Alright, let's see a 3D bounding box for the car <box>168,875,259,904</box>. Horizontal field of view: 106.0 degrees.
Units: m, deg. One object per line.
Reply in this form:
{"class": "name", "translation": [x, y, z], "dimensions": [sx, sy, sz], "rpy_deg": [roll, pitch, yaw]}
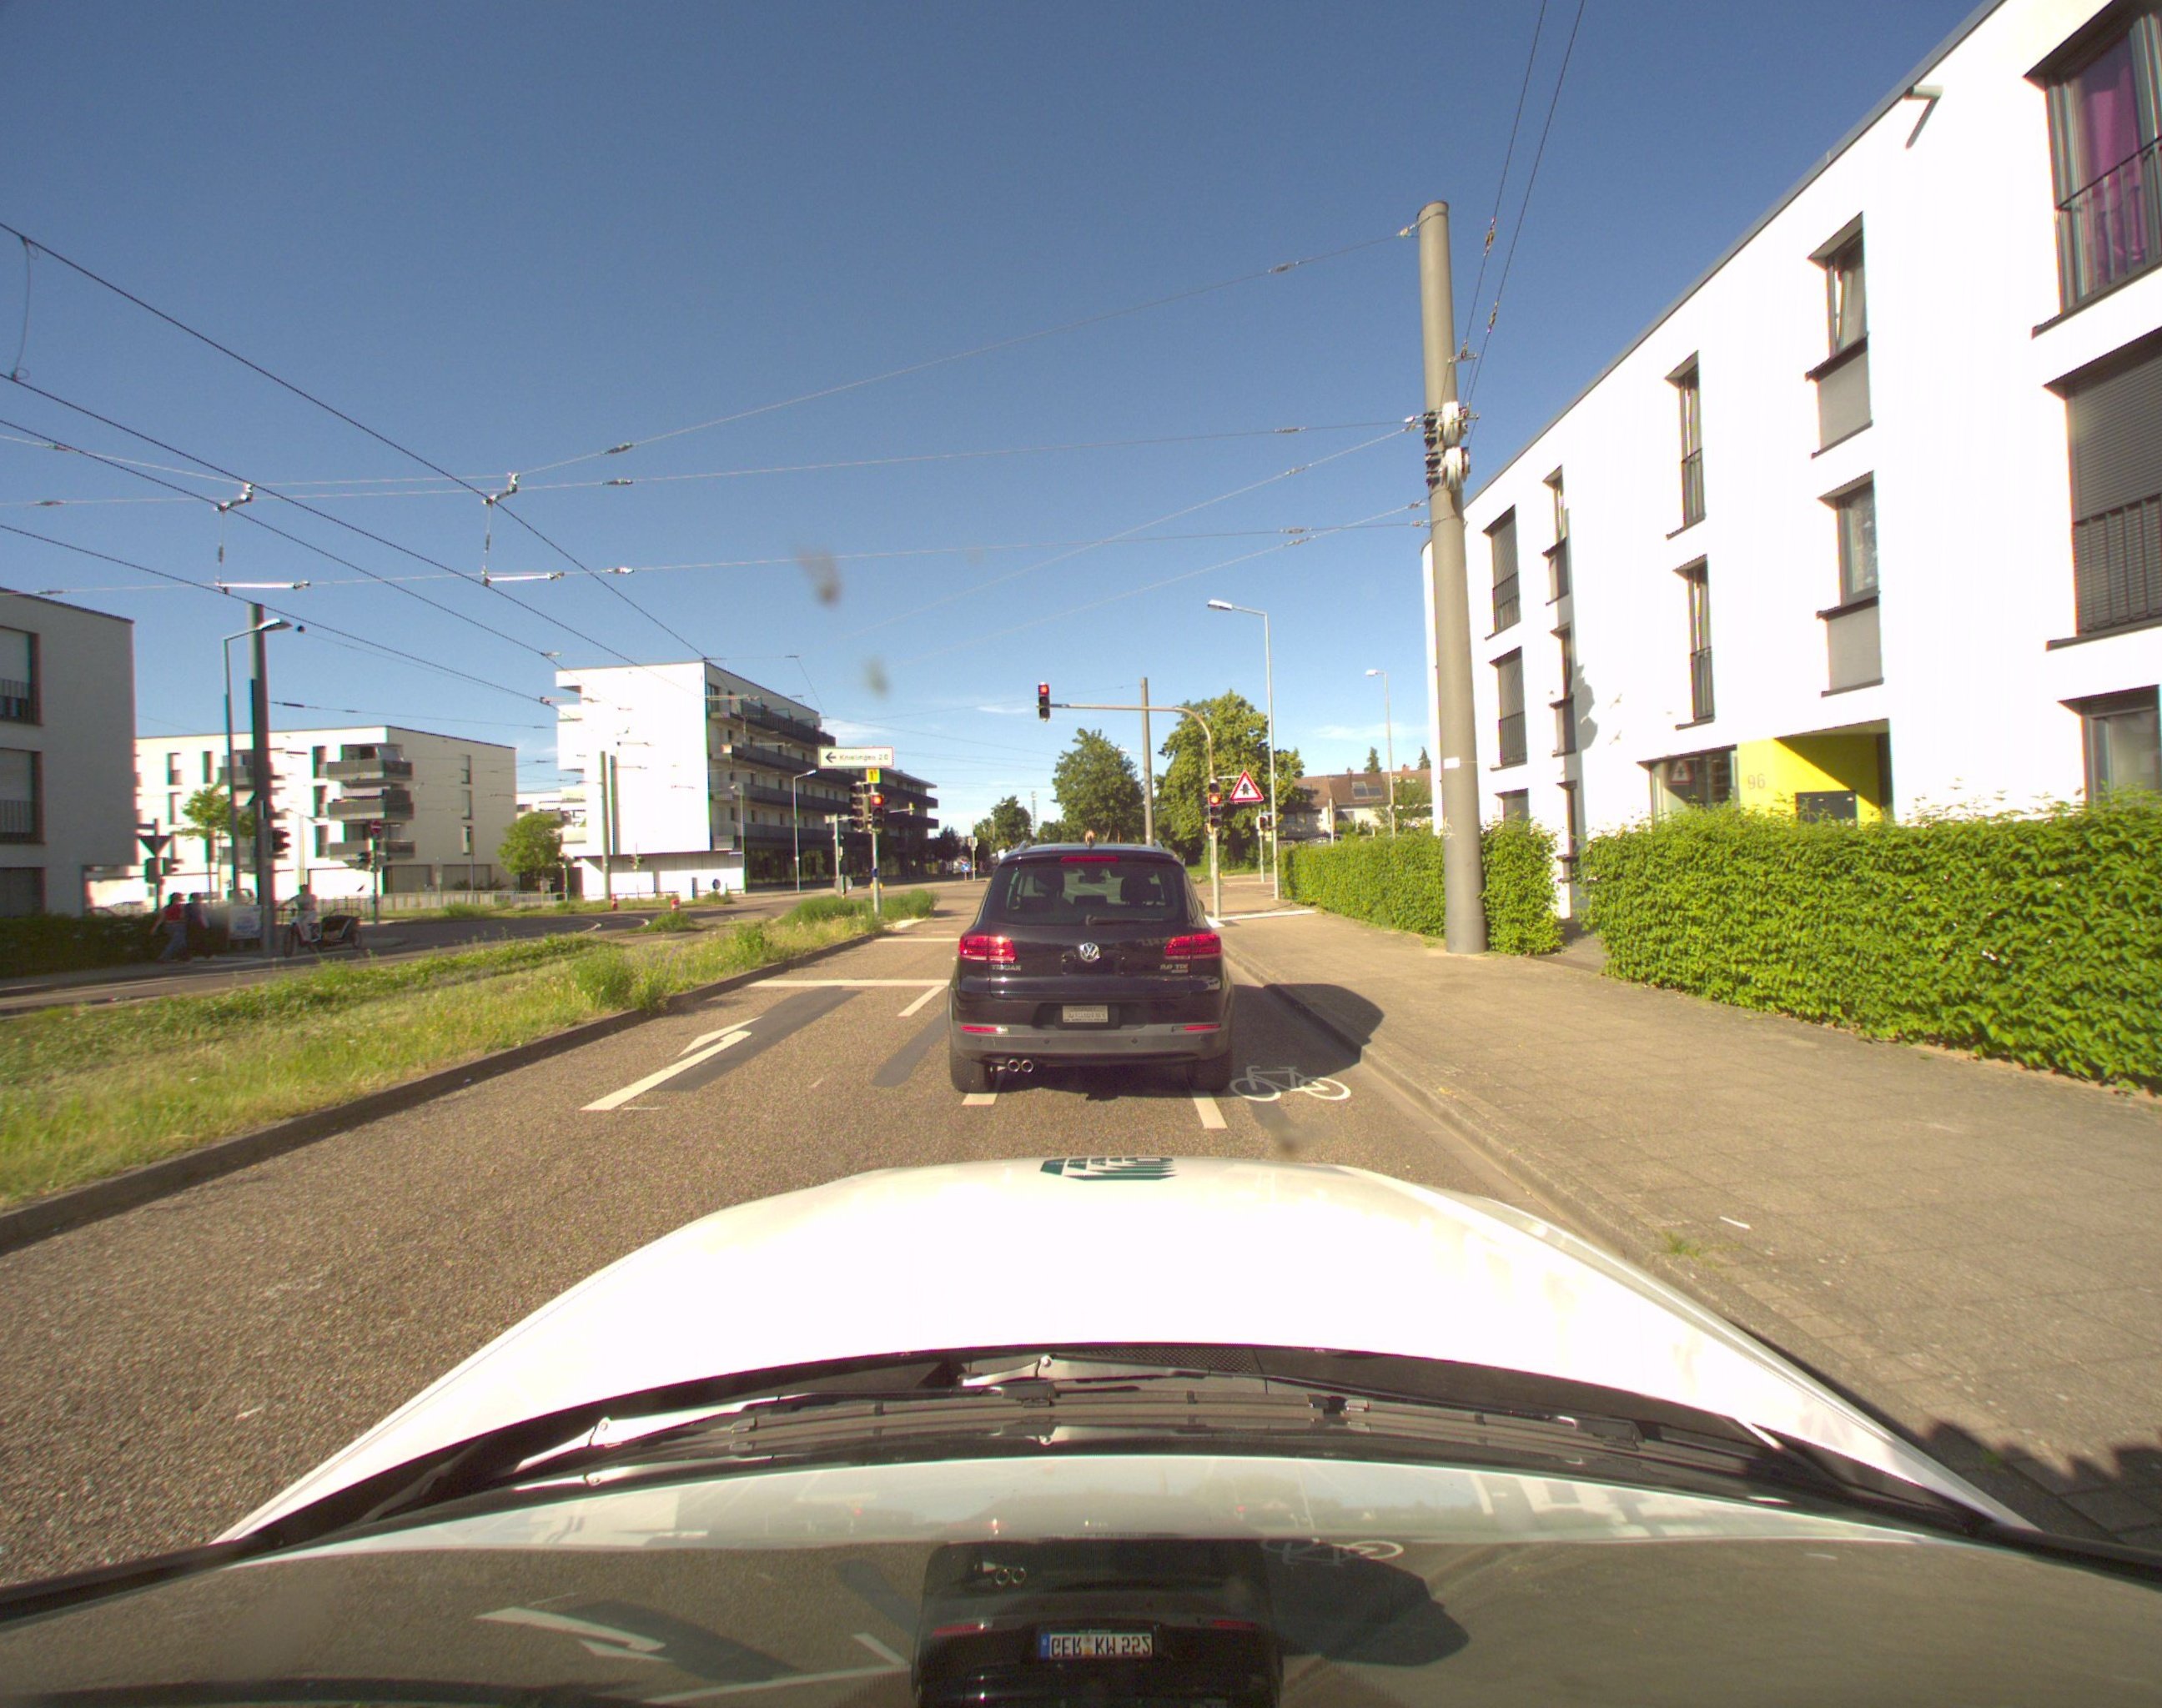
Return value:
{"class": "car", "translation": [-58.722, 2.372, 55.159], "dimensions": [3.974, 1.838, 2.000], "rpy_deg": [-1, 0, 0]}

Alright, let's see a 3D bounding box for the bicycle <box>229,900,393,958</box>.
{"class": "bicycle", "translation": [-19.901, 1.896, 21.250], "dimensions": [0.994, 1.174, 3.688], "rpy_deg": [1, 0, -5]}

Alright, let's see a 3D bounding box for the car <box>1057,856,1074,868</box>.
{"class": "car", "translation": [-1.793, 0.920, 94.682], "dimensions": [1.745, 1.387, 4.000], "rpy_deg": [-1, 0, 0]}

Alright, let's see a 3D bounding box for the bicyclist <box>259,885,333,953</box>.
{"class": "bicyclist", "translation": [-19.852, 1.616, 20.622], "dimensions": [0.971, 1.630, 0.911], "rpy_deg": [-1, 0, -6]}

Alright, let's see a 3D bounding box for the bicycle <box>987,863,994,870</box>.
{"class": "bicycle", "translation": [-12.177, 1.669, 109.145], "dimensions": [0.493, 0.848, 2.082], "rpy_deg": [-1, 0, 6]}

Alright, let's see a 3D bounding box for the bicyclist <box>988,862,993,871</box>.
{"class": "bicyclist", "translation": [-12.175, 1.704, 109.147], "dimensions": [0.472, 1.223, 0.713], "rpy_deg": [-1, 0, 5]}

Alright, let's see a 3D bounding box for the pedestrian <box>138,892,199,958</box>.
{"class": "pedestrian", "translation": [-21.304, 1.637, 19.027], "dimensions": [0.554, 1.464, 0.743], "rpy_deg": [-1, 0, 3]}

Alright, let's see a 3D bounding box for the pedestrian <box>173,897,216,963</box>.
{"class": "pedestrian", "translation": [-20.689, 1.767, 19.013], "dimensions": [0.561, 1.464, 0.605], "rpy_deg": [-1, 0, -36]}

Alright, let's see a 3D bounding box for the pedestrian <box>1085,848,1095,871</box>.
{"class": "pedestrian", "translation": [0.659, 0.402, 59.884], "dimensions": [0.600, 1.640, 0.530], "rpy_deg": [-1, 0, 6]}

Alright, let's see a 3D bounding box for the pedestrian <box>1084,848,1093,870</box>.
{"class": "pedestrian", "translation": [0.572, 0.373, 59.291], "dimensions": [0.600, 1.565, 0.530], "rpy_deg": [-1, 0, 6]}

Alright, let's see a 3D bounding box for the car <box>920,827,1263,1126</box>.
{"class": "car", "translation": [0.080, 0.687, 6.567], "dimensions": [1.899, 1.643, 4.000], "rpy_deg": [-1, 0, 0]}
